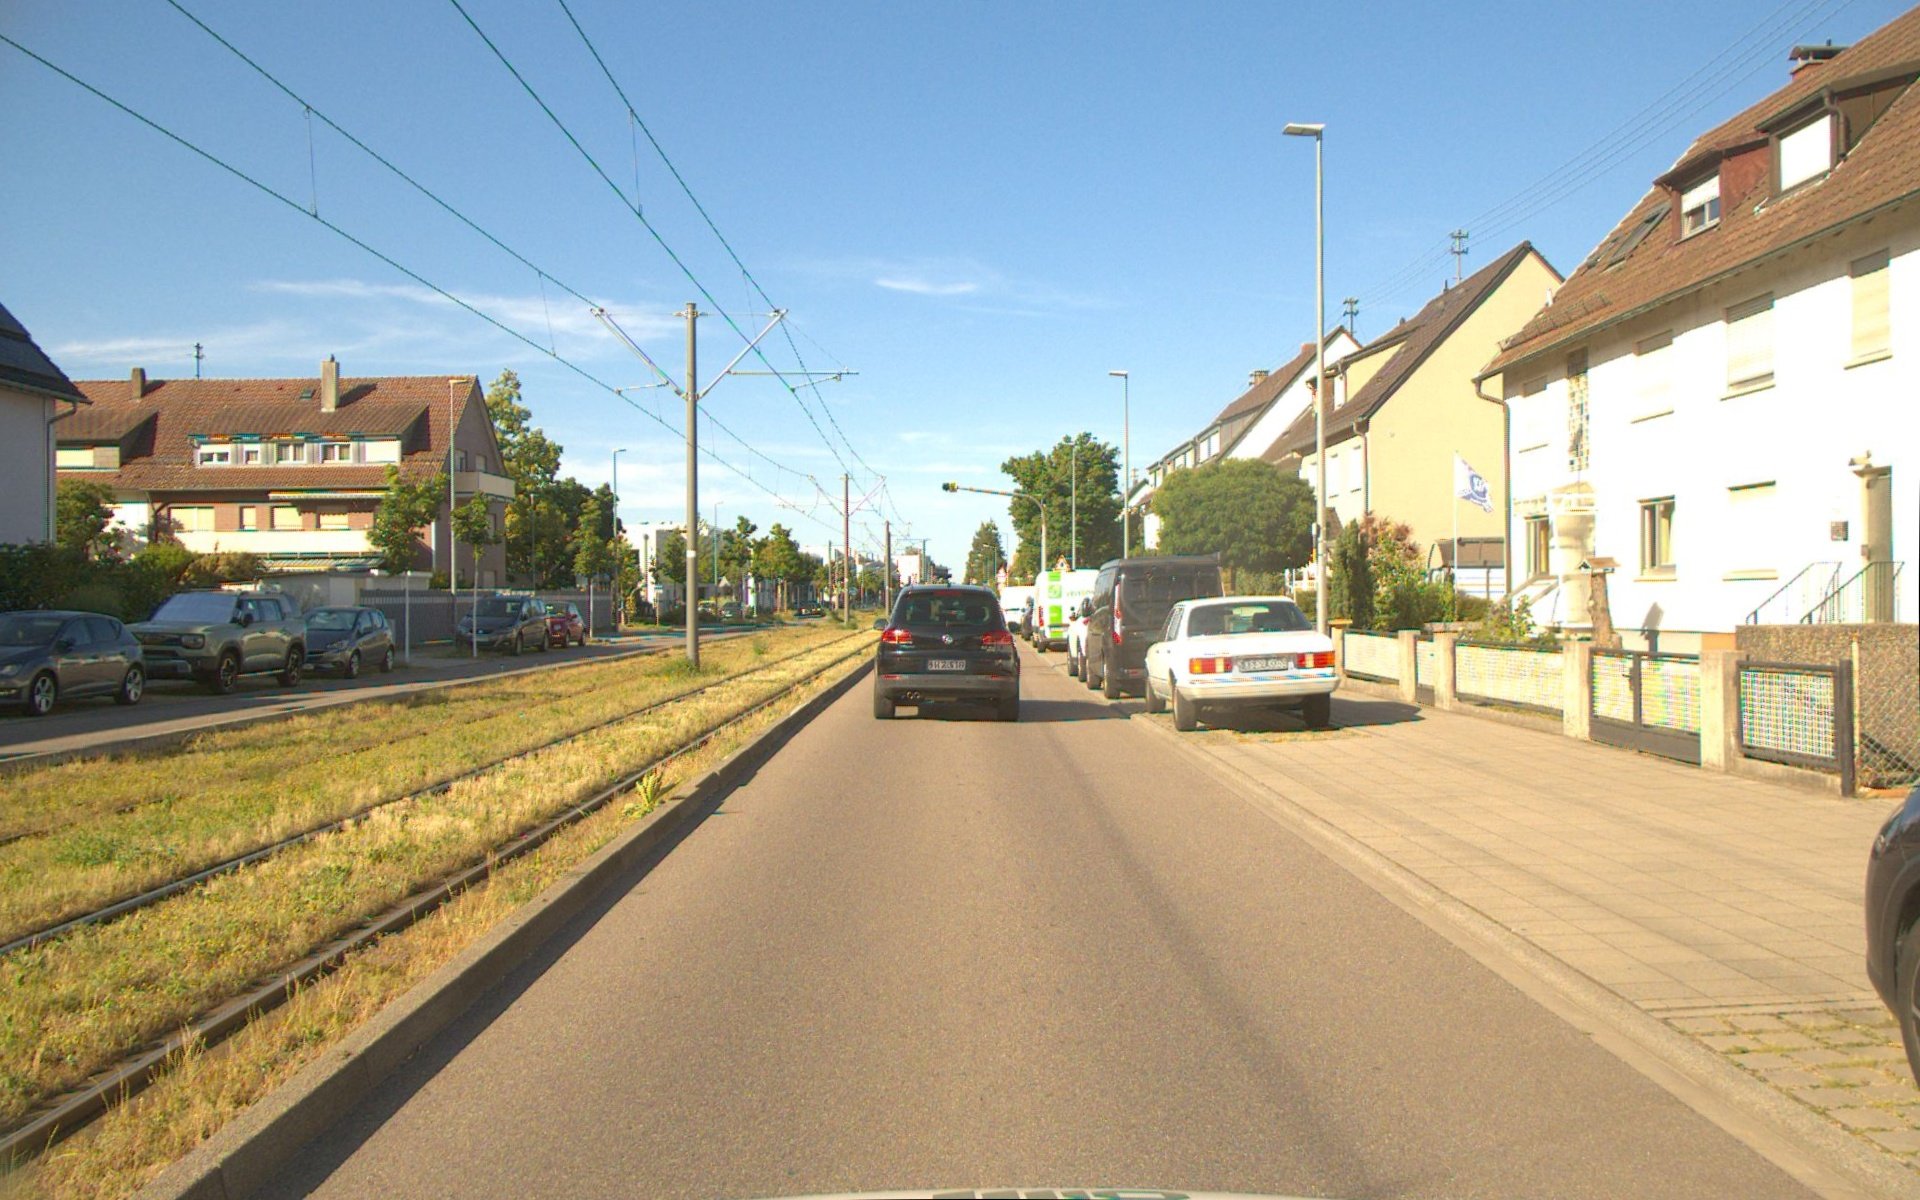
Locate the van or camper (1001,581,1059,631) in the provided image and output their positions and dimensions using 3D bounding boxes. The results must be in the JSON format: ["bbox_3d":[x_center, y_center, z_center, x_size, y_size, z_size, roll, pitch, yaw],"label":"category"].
[{"bbox_3d":[3.005,0.225,70.082,1.985,1.990,5.299,-1,0,8],"label":"van or camper"}]

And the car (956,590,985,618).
[{"bbox_3d":[0.697,0.260,113.451,1.596,1.860,4.127,-1,0,-5],"label":"car"}]

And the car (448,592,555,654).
[{"bbox_3d":[-13.583,0.646,49.314,1.782,1.714,4.846,1,0,0],"label":"car"}]

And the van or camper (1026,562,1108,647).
[{"bbox_3d":[3.112,0.137,49.259,1.953,2.310,6.304,-2,0,0],"label":"van or camper"}]

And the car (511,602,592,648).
[{"bbox_3d":[-13.610,0.812,55.335,1.660,1.429,4.079,-1,0,0],"label":"car"}]

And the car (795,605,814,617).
[{"bbox_3d":[-18.664,1.308,198.414,1.653,1.413,4.388,-2,0,1],"label":"car"}]

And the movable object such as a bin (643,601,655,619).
[{"bbox_3d":[-25.715,0.858,136.792,0.650,1.459,1.255,1,-1,8],"label":"movable object such as a bin"}]

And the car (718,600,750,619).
[{"bbox_3d":[-18.457,0.776,135.207,1.772,1.486,4.319,1,0,4],"label":"car"}]

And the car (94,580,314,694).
[{"bbox_3d":[-13.484,0.619,29.862,1.709,1.855,4.841,1,0,0],"label":"car"}]

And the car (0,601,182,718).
[{"bbox_3d":[-13.573,0.806,24.534,1.920,1.567,4.556,1,0,-1],"label":"car"}]

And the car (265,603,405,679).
[{"bbox_3d":[-13.653,0.856,36.356,1.642,1.517,4.048,1,0,-3],"label":"car"}]

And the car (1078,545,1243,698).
[{"bbox_3d":[3.107,0.318,26.732,1.920,2.181,5.334,-1,0,-1],"label":"car"}]

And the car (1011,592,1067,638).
[{"bbox_3d":[2.798,0.544,59.648,1.713,1.520,5.155,-2,0,0],"label":"car"}]

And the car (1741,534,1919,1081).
[{"bbox_3d":[3.531,0.573,3.273,1.741,1.525,4.728,-1,0,0],"label":"car"}]

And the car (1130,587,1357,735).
[{"bbox_3d":[3.253,0.627,20.093,1.814,1.469,5.614,-2,0,1],"label":"car"}]

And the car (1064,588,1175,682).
[{"bbox_3d":[3.070,0.652,32.581,1.690,1.674,4.318,-1,0,-1],"label":"car"}]

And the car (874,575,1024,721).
[{"bbox_3d":[-0.199,0.585,21.587,1.740,1.699,3.998,1,0,-2],"label":"car"}]
